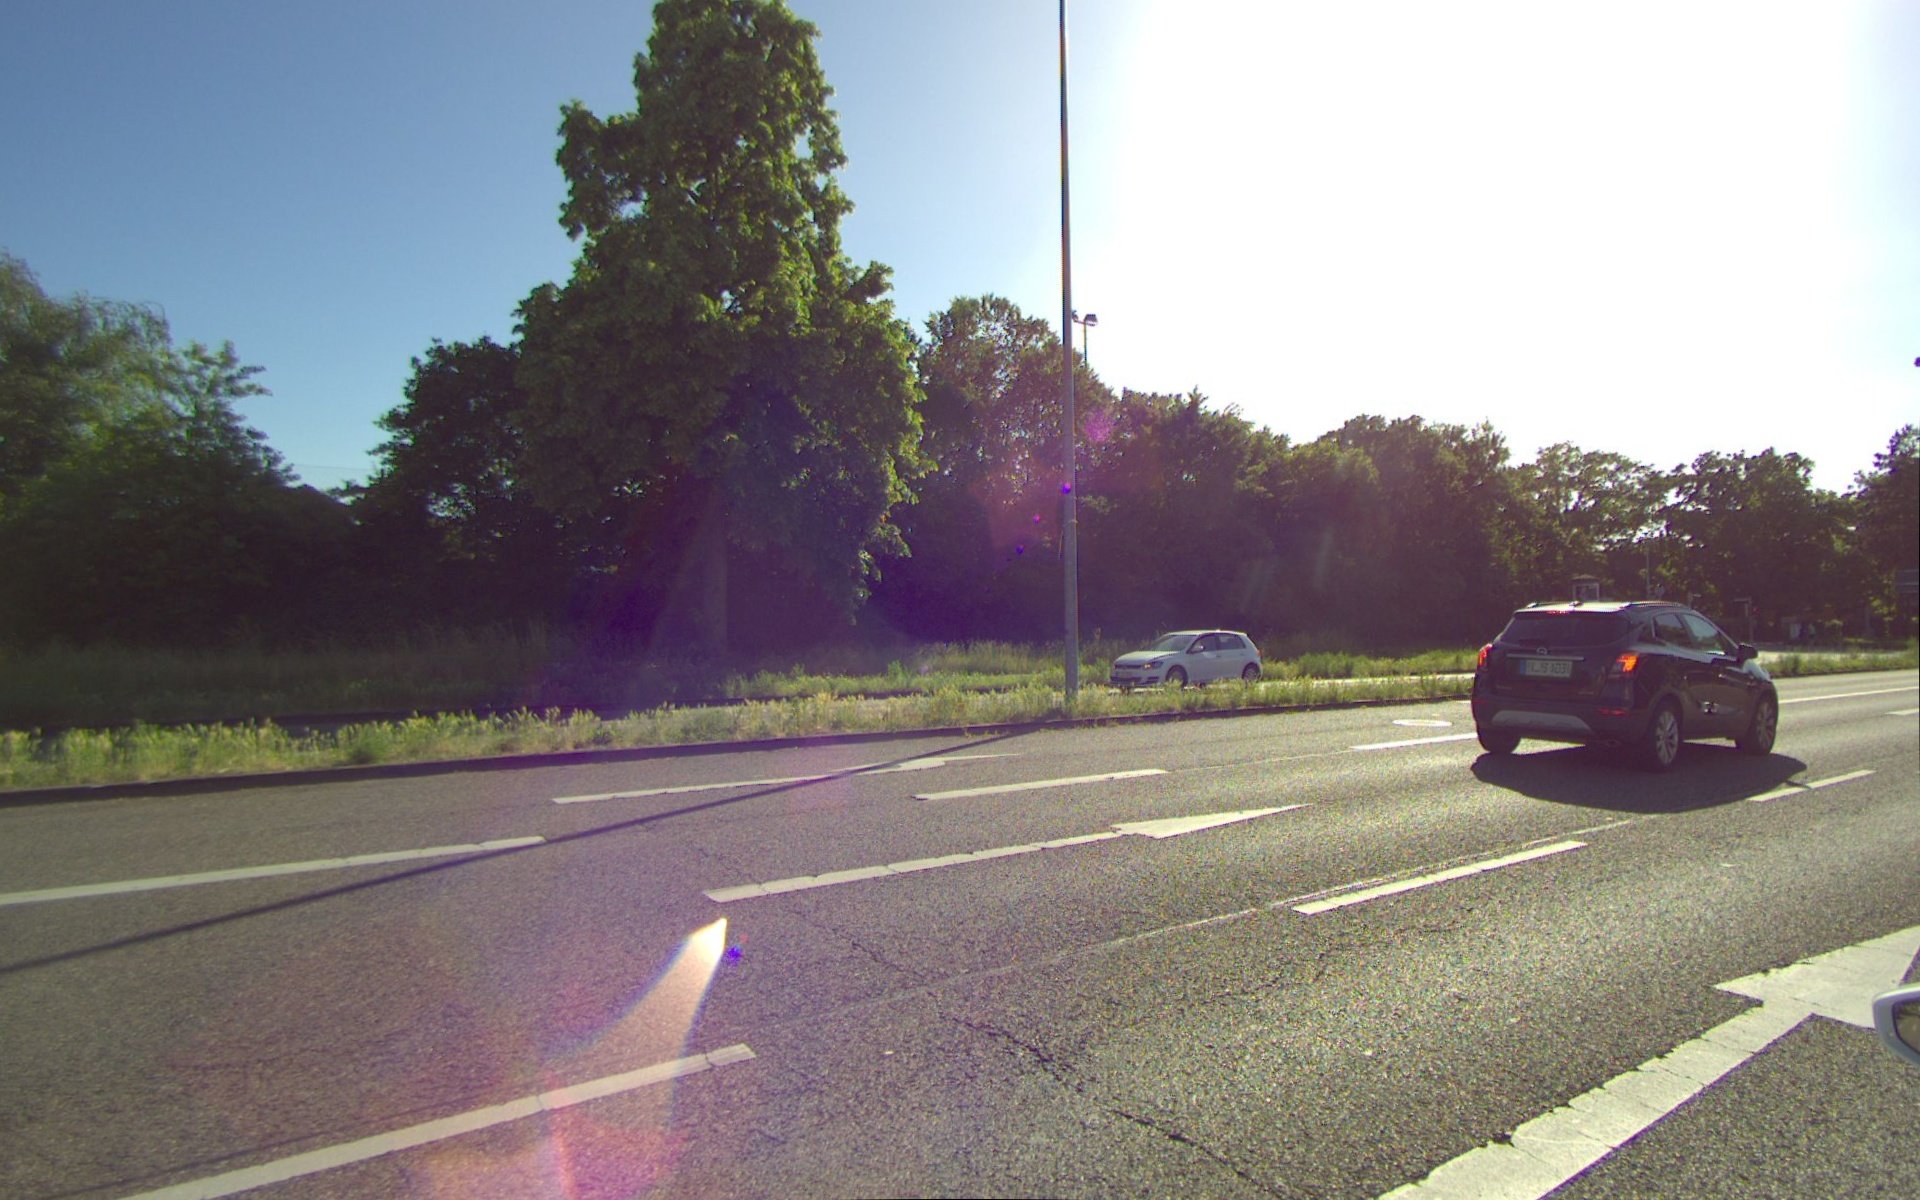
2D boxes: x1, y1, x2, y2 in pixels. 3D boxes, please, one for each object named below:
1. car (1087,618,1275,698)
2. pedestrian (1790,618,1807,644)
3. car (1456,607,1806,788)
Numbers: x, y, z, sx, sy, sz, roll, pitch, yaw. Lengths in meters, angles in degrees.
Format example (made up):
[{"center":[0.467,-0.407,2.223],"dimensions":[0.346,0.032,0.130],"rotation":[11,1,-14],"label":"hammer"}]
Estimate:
[{"center":[5.359,1.366,24.202],"dimensions":[4.361,1.726,1.901],"rotation":[2,0,-33],"label":"car"},{"center":[61.783,2.289,74.007],"dimensions":[0.543,1.859,0.842],"rotation":[0,-2,-29],"label":"pedestrian"},{"center":[7.520,0.939,11.128],"dimensions":[4.371,1.653,1.686],"rotation":[1,-2,-34],"label":"car"}]
